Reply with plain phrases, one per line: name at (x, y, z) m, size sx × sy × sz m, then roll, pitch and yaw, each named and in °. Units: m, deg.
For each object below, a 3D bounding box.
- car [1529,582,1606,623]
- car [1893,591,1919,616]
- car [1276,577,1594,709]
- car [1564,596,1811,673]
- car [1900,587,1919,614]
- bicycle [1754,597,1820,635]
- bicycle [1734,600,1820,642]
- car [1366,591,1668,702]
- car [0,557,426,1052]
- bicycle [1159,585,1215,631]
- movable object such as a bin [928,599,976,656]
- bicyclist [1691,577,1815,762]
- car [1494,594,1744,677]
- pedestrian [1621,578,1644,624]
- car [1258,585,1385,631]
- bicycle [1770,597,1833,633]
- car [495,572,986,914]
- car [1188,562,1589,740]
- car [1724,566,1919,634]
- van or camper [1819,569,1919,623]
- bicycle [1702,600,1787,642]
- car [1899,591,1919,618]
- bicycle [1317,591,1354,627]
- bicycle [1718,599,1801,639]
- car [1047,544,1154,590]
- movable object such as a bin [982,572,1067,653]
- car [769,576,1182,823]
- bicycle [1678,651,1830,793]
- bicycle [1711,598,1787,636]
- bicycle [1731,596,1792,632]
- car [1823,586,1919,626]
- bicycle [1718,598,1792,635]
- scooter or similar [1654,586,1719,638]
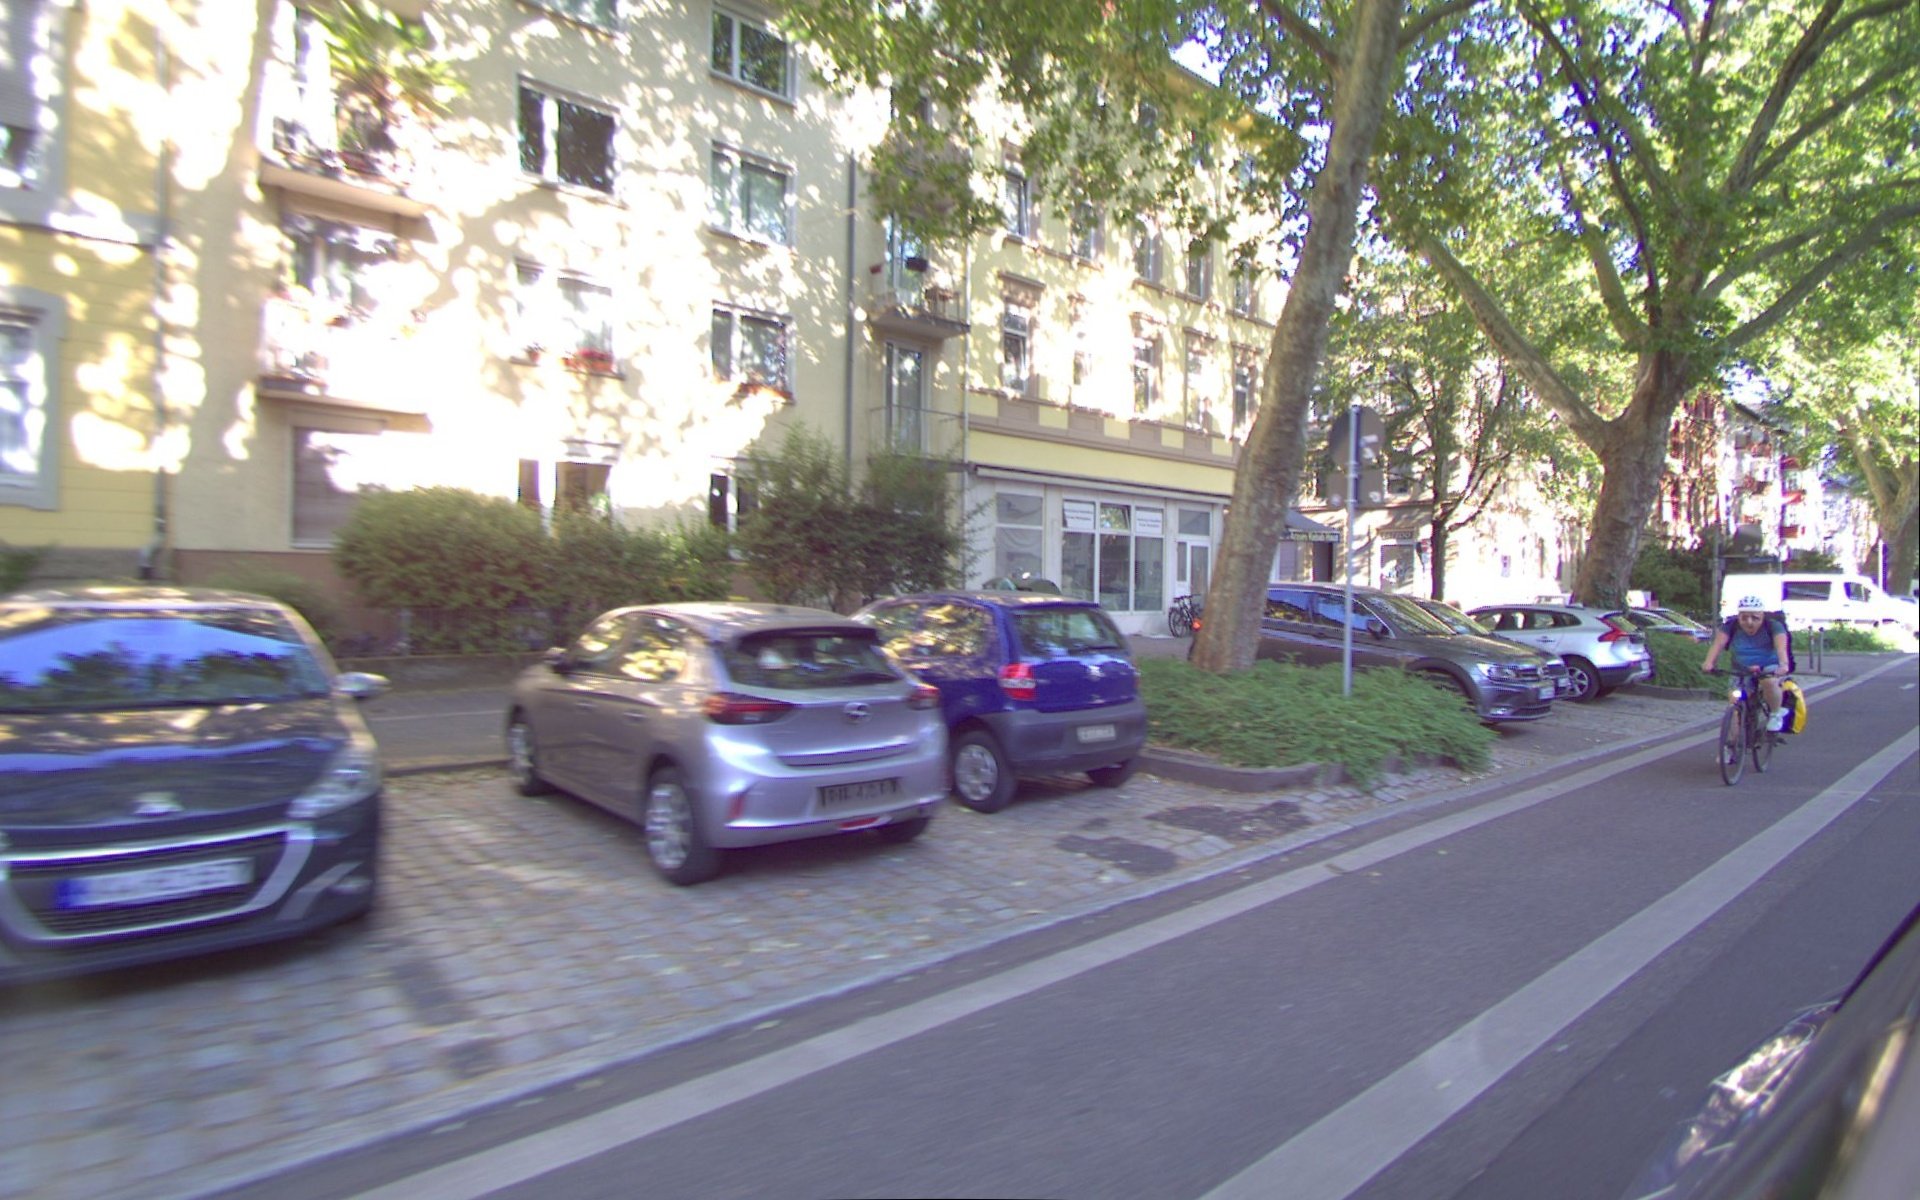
car at (23.649, 0.064, 39.379) m, size 3.512 × 1.473 × 1.734 m, roll 0°, pitch 3°, yaw -45°
car at (61.581, 0.233, 64.015) m, size 1.632 × 1.514 × 3.613 m, roll 0°, pitch 1°, yaw -42°
car at (7.047, 0.527, 15.342) m, size 1.653 × 1.664 × 4.033 m, roll 0°, pitch 2°, yaw -42°
car at (16.105, 0.686, 22.618) m, size 1.795 × 1.510 × 4.112 m, roll 0°, pitch 1°, yaw -32°
car at (63.343, 0.056, 65.156) m, size 1.773 × 1.767 × 4.001 m, roll 0°, pitch 1°, yaw -41°
bicycle at (27.840, 0.521, 34.111) m, size 0.405 × 1.193 × 2.050 m, roll 0°, pitch 1°, yaw -4°
bicycle at (25.165, 0.628, 31.211) m, size 0.405 × 1.193 × 2.050 m, roll -1°, pitch 1°, yaw -32°
car at (8.991, 0.655, 16.562) m, size 4.029 × 1.498 × 1.655 m, roll 2°, pitch 2°, yaw 44°
car at (-4.037, 0.628, 5.034) m, size 1.664 × 1.542 × 3.679 m, roll 0°, pitch 3°, yaw -40°
bicycle at (5.951, 0.213, 26.526) m, size 1.715 × 1.170 × 0.470 m, roll 1°, pitch 2°, yaw -41°
movable object such as a bin at (-0.151, 0.478, 18.063) m, size 0.457 × 0.955 × 0.749 m, roll 0°, pitch 2°, yaw -41°
bicyclist at (7.139, 0.603, 9.110) m, size 0.919 × 1.573 × 0.615 m, roll 0°, pitch -4°, yaw -41°
car at (13.777, 0.660, 21.389) m, size 1.649 × 1.510 × 4.110 m, roll 0°, pitch 1°, yaw -35°
pedestrian at (25.060, 0.027, 37.734) m, size 0.587 × 1.672 × 0.703 m, roll 0°, pitch 1°, yaw 23°
car at (12.201, 0.263, 34.274) m, size 1.663 × 1.430 × 3.679 m, roll 3°, pitch -1°, yaw -44°
bicycle at (29.709, 0.499, 35.766) m, size 0.405 × 1.193 × 2.050 m, roll 0°, pitch 1°, yaw -4°
car at (-1.656, 0.636, 6.699) m, size 1.664 × 1.536 × 3.603 m, roll 0°, pitch 2°, yaw -40°
car at (5.242, 0.478, 12.838) m, size 1.818 × 1.739 × 4.269 m, roll 0°, pitch 3°, yaw -43°
car at (31.896, -0.047, 37.001) m, size 1.970 × 2.311 × 6.005 m, roll 1°, pitch 1°, yaw -39°
van or camper at (45.659, -0.209, 48.948) m, size 2.071 × 2.522 × 6.043 m, roll 0°, pitch 1°, yaw -41°
bicycle at (23.948, 0.620, 30.945) m, size 0.405 × 1.193 × 2.050 m, roll -1°, pitch 1°, yaw -32°
car at (54.760, 0.295, 56.016) m, size 1.659 × 1.498 × 3.960 m, roll 0°, pitch 2°, yaw -41°
bicycle at (15.126, 0.365, 40.777) m, size 1.974 × 1.333 × 0.522 m, roll -3°, pitch 1°, yaw -42°
bicycle at (25.237, 0.583, 31.978) m, size 0.405 × 1.193 × 2.050 m, roll -1°, pitch 1°, yaw -32°
car at (5.459, -1.267, 39.811) m, size 1.625 × 1.679 × 4.140 m, roll 3°, pitch -1°, yaw -39°
movable object such as a bin at (1.235, 0.217, 19.496) m, size 1.098 × 1.455 × 1.169 m, roll 0°, pitch 2°, yaw -41°
car at (-0.050, 0.611, 8.534) m, size 1.514 × 1.619 × 3.602 m, roll -1°, pitch 2°, yaw -40°
bicycle at (7.120, 1.011, 9.019) m, size 2.467 × 1.017 × 0.596 m, roll 0°, pitch -2°, yaw -41°
bicycle at (25.654, 0.535, 32.966) m, size 0.404 × 1.193 × 2.053 m, roll -1°, pitch 1°, yaw -20°
bicycle at (28.413, 0.468, 35.923) m, size 0.405 × 1.193 × 2.050 m, roll 0°, pitch 1°, yaw -4°
car at (40.809, 0.232, 44.695) m, size 1.766 × 1.676 × 3.959 m, roll -1°, pitch 2°, yaw -43°
bicycle at (26.609, 0.537, 33.925) m, size 0.404 × 1.193 × 2.053 m, roll -1°, pitch 1°, yaw -20°
scooter or similar at (18.210, 0.287, 25.386) m, size 0.334 × 1.271 × 1.313 m, roll 0°, pitch 1°, yaw -27°
